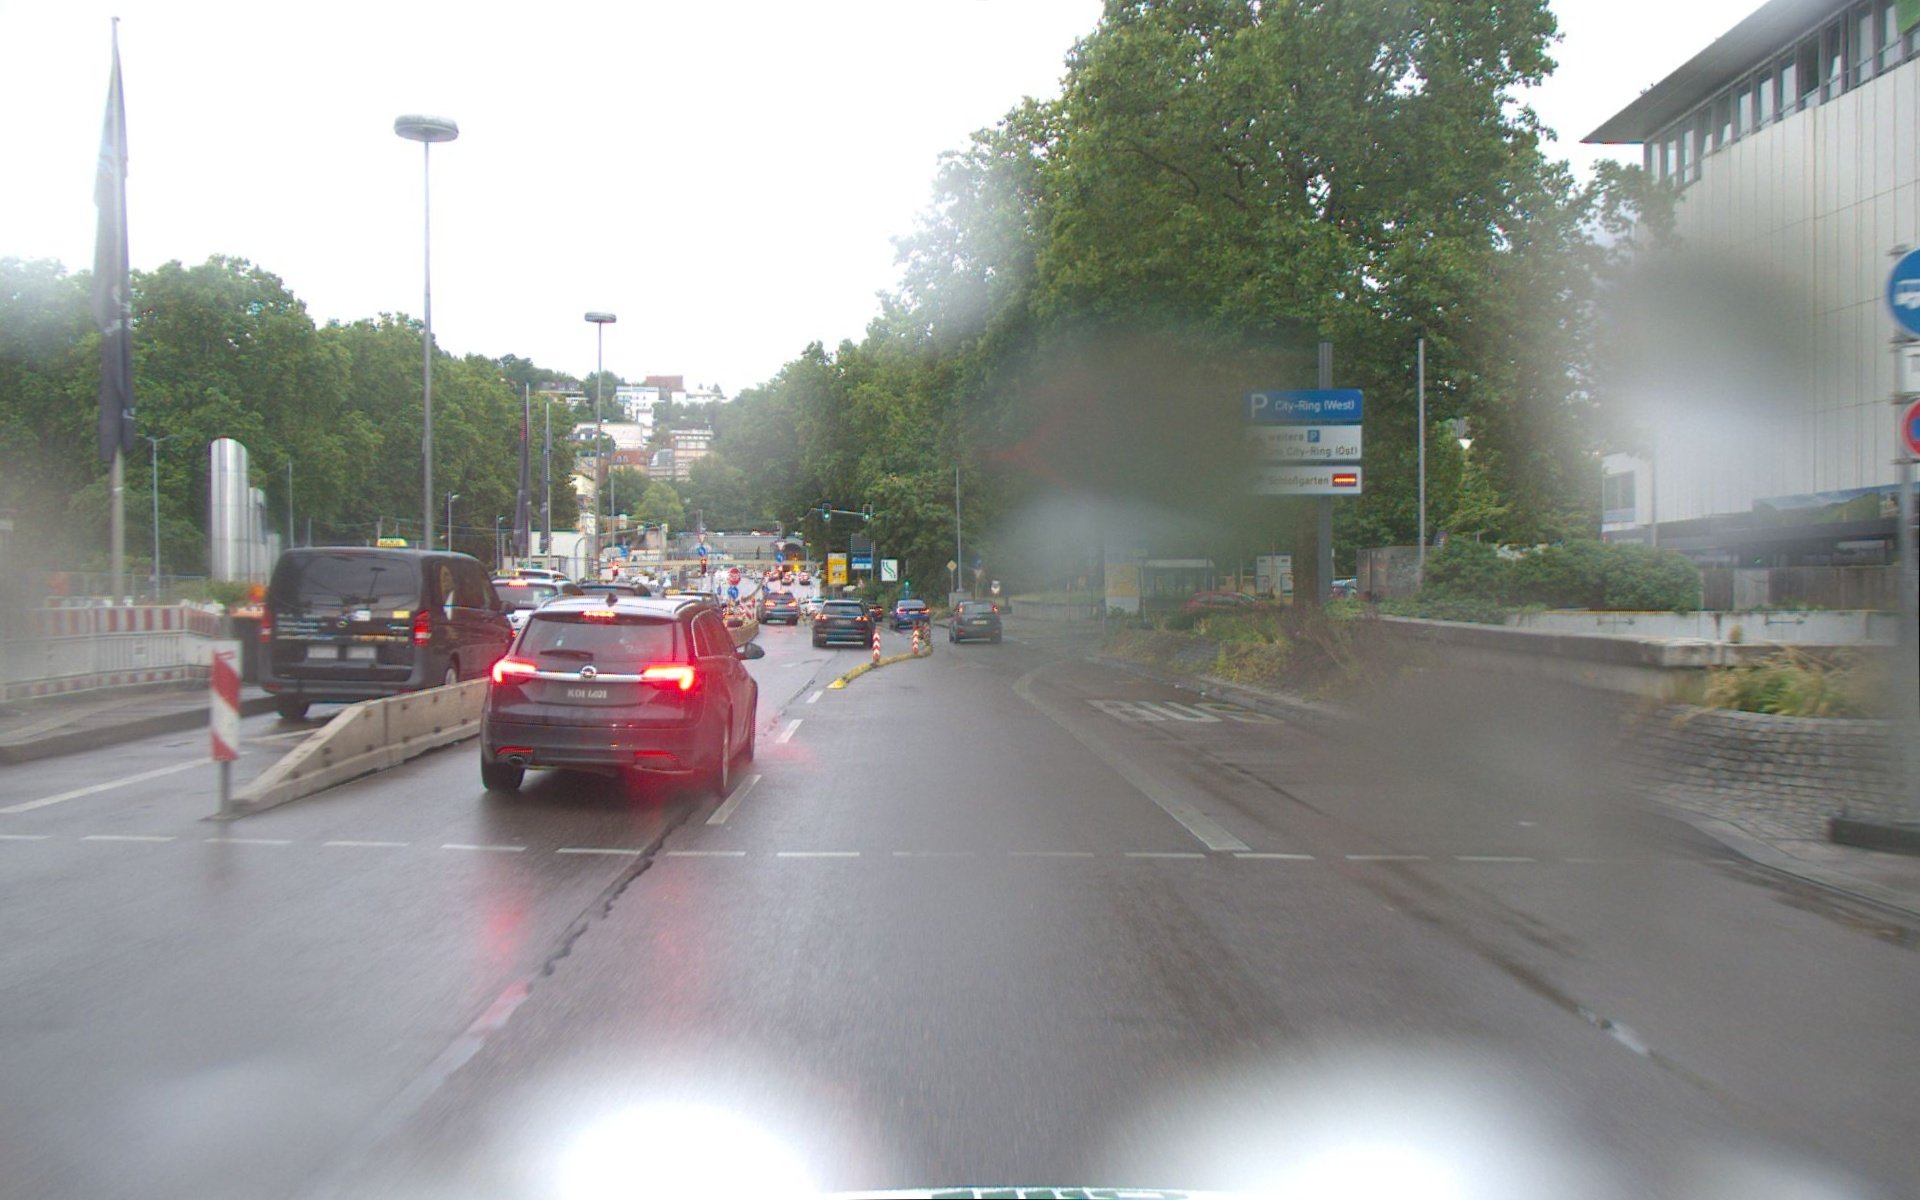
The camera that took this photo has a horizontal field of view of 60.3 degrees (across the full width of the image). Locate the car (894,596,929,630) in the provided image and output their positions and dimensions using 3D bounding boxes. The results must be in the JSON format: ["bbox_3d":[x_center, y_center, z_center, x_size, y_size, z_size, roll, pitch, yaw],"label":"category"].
[{"bbox_3d":[-2.426,0.649,83.000,1.640,1.609,3.239,1,0,-1],"label":"car"}]

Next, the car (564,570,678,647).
[{"bbox_3d":[-7.251,0.187,35.724,1.787,1.537,4.487,1,0,-4],"label":"car"}]

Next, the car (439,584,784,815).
[{"bbox_3d":[-2.587,0.669,13.496,1.839,1.534,4.851,0,0,-1],"label":"car"}]

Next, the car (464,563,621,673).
[{"bbox_3d":[-7.175,0.305,28.874,1.787,1.726,4.770,1,0,-4],"label":"car"}]

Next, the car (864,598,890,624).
[{"bbox_3d":[-5.546,0.744,110.370,1.602,1.653,3.791,1,0,-5],"label":"car"}]

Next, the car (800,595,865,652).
[{"bbox_3d":[-3.935,0.699,51.563,1.793,1.715,4.132,0,0,-2],"label":"car"}]

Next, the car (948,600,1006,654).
[{"bbox_3d":[0.545,0.919,56.956,1.814,1.747,3.998,1,0,-2],"label":"car"}]

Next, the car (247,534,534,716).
[{"bbox_3d":[-6.610,0.281,19.842,1.954,1.877,5.058,1,0,-4],"label":"car"}]

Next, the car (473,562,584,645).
[{"bbox_3d":[-11.456,0.116,44.265,1.955,2.049,5.364,1,0,-5],"label":"car"}]

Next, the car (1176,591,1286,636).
[{"bbox_3d":[9.769,0.477,59.732,3.550,1.532,1.726,1,-1,39],"label":"car"}]

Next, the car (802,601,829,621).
[{"bbox_3d":[-11.897,0.932,136.229,1.781,1.602,3.990,1,0,-11],"label":"car"}]

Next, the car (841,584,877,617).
[{"bbox_3d":[-5.644,0.044,92.698,1.865,1.747,3.998,1,0,-2],"label":"car"}]

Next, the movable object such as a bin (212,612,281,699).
[{"bbox_3d":[-10.013,0.772,23.237,0.657,1.182,0.766,2,-1,-7],"label":"movable object such as a bin"}]

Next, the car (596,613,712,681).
[{"bbox_3d":[-7.438,1.099,40.673,1.932,1.537,5.004,1,0,-1],"label":"car"}]

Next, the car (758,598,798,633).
[{"bbox_3d":[-10.066,0.826,91.286,1.957,1.859,3.990,1,0,-10],"label":"car"}]

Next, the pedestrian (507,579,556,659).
[{"bbox_3d":[-9.888,0.434,38.208,0.816,1.815,1.028,0,0,2],"label":"pedestrian"}]

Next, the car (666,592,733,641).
[{"bbox_3d":[-8.847,0.549,56.359,1.955,1.557,4.147,-1,0,-5],"label":"car"}]

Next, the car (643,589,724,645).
[{"bbox_3d":[-8.473,0.514,51.100,1.954,1.595,4.871,-1,0,-4],"label":"car"}]

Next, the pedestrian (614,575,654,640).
[{"bbox_3d":[-10.417,0.246,52.858,1.002,2.049,0.837,0,0,9],"label":"pedestrian"}]

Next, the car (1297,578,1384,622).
[{"bbox_3d":[18.601,0.035,80.752,2.097,2.049,4.618,0,-1,43],"label":"car"}]
